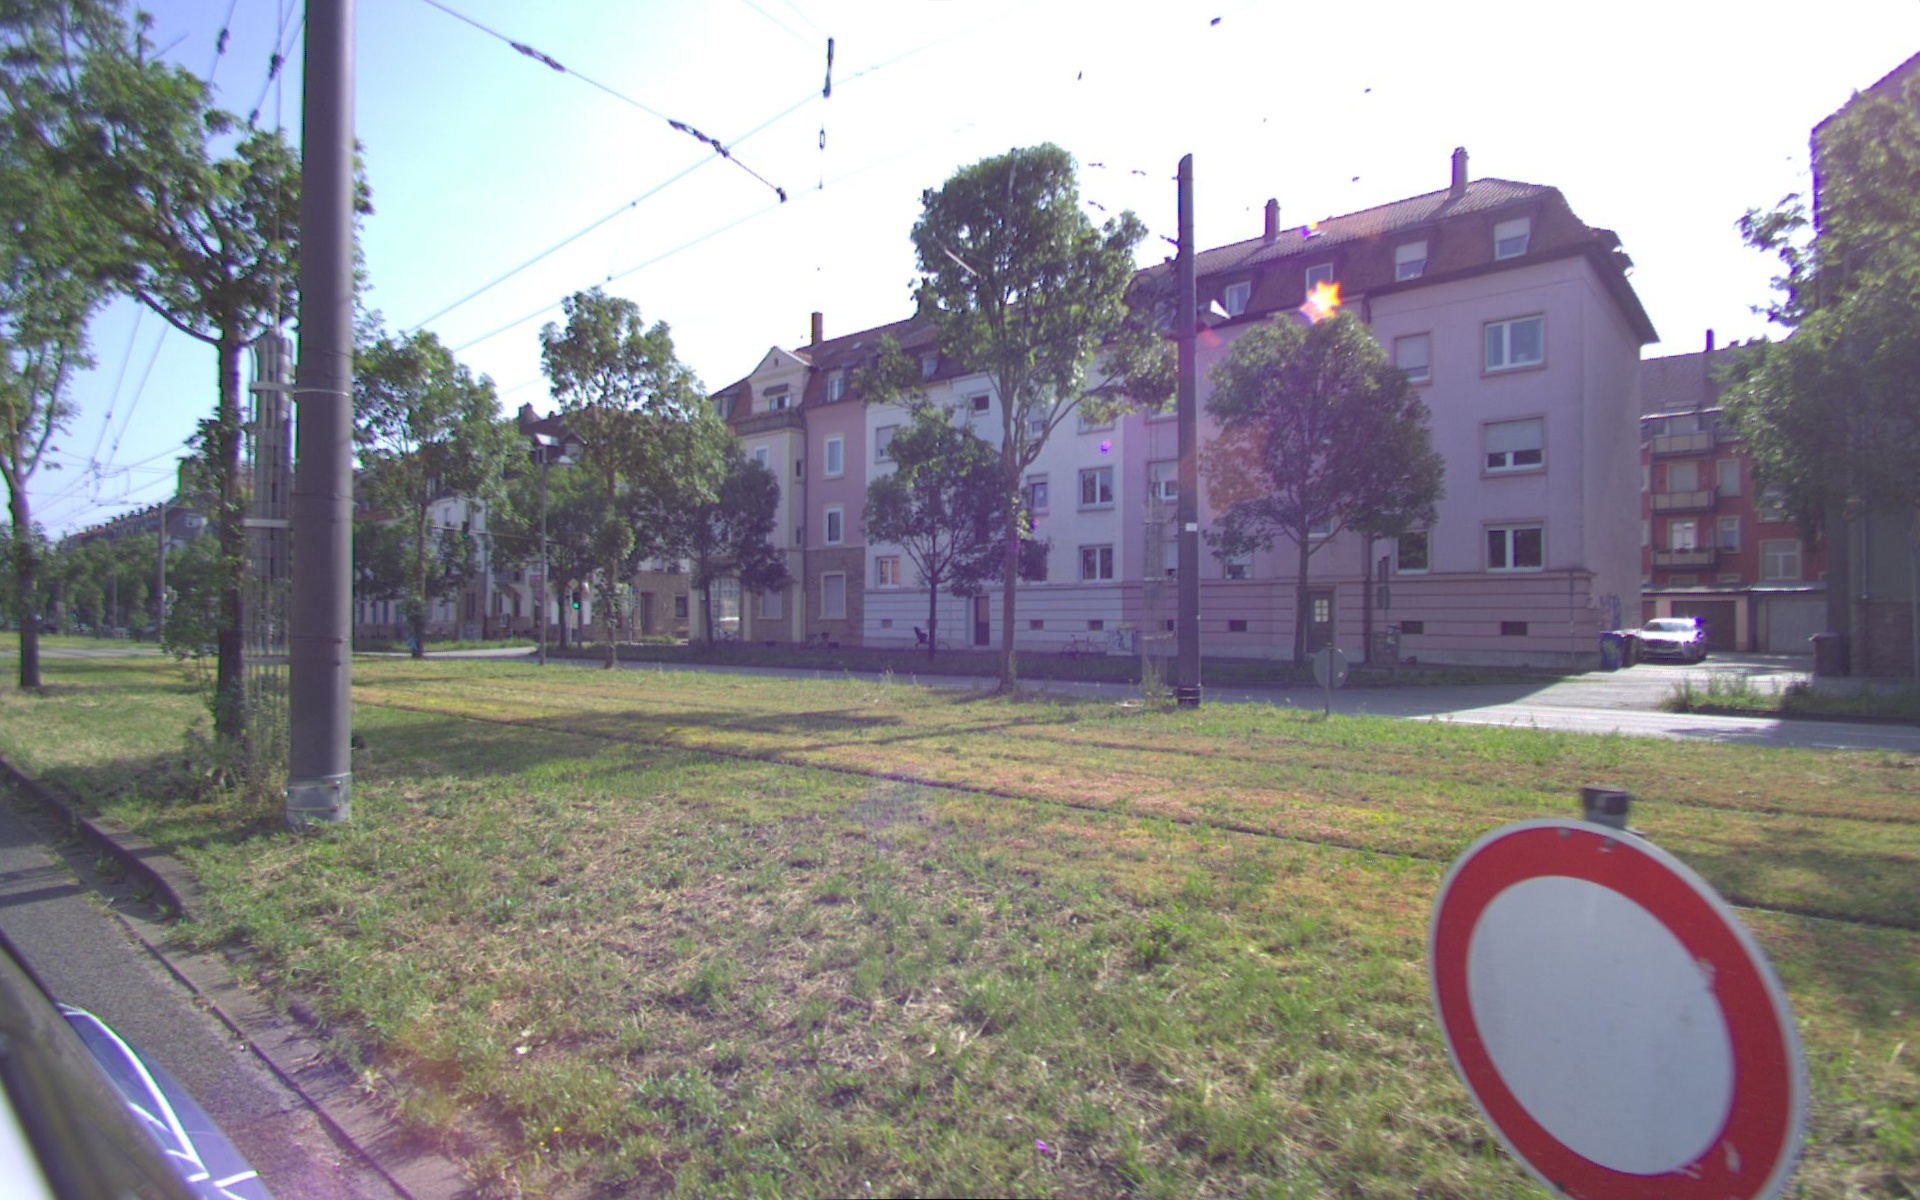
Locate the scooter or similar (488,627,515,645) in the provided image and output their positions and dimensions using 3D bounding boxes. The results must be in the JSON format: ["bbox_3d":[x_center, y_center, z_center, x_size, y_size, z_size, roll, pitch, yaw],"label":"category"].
[{"bbox_3d":[-29.843,2.344,65.867,1.477,1.077,0.737,-1,1,20],"label":"scooter or similar"}]

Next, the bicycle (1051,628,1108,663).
[{"bbox_3d":[4.162,1.576,35.385,1.946,1.136,0.598,-1,1,40],"label":"bicycle"}]

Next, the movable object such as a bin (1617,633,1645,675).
[{"bbox_3d":[20.318,1.636,30.649,0.640,1.220,0.579,-1,1,40],"label":"movable object such as a bin"}]

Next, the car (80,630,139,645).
[{"bbox_3d":[-97.828,4.327,116.473,4.696,1.496,2.029,-1,1,-17],"label":"car"}]

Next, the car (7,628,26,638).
[{"bbox_3d":[-153.389,5.290,164.548,4.649,1.470,1.926,-1,1,43],"label":"car"}]

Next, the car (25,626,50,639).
[{"bbox_3d":[-114.995,4.063,126.121,3.923,1.444,1.794,-1,1,41],"label":"car"}]

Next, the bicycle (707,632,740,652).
[{"bbox_3d":[-11.542,2.034,49.419,1.946,0.895,0.463,-1,1,40],"label":"bicycle"}]

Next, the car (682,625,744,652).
[{"bbox_3d":[-17.257,2.668,70.767,1.832,1.633,3.948,-1,1,39],"label":"car"}]

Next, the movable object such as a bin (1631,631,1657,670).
[{"bbox_3d":[22.131,1.633,32.725,0.640,1.220,0.579,-1,1,40],"label":"movable object such as a bin"}]

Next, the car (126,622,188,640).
[{"bbox_3d":[-86.587,3.343,109.227,4.869,1.739,1.862,-1,1,-14],"label":"car"}]

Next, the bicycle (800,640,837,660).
[{"bbox_3d":[-6.252,2.193,44.720,1.946,0.795,0.433,-1,1,40],"label":"bicycle"}]

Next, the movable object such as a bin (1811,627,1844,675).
[{"bbox_3d":[22.641,1.320,26.416,0.640,1.220,0.579,-1,1,40],"label":"movable object such as a bin"}]

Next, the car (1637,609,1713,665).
[{"bbox_3d":[24.341,1.214,34.387,1.825,1.640,4.235,-1,0,39],"label":"car"}]

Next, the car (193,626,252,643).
[{"bbox_3d":[-66.745,3.110,91.665,3.947,1.326,1.667,-1,1,-14],"label":"car"}]

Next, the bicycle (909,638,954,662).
[{"bbox_3d":[-1.135,1.981,40.078,1.946,0.863,0.443,-1,1,40],"label":"bicycle"}]

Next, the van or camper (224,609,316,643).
[{"bbox_3d":[-56.613,2.104,83.196,5.826,2.593,2.205,-1,1,-14],"label":"van or camper"}]

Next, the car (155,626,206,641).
[{"bbox_3d":[-77.037,3.317,100.080,3.625,1.251,1.667,-1,1,-14],"label":"car"}]

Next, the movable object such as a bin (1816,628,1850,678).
[{"bbox_3d":[22.250,1.336,25.800,0.640,1.220,0.579,-1,1,40],"label":"movable object such as a bin"}]
